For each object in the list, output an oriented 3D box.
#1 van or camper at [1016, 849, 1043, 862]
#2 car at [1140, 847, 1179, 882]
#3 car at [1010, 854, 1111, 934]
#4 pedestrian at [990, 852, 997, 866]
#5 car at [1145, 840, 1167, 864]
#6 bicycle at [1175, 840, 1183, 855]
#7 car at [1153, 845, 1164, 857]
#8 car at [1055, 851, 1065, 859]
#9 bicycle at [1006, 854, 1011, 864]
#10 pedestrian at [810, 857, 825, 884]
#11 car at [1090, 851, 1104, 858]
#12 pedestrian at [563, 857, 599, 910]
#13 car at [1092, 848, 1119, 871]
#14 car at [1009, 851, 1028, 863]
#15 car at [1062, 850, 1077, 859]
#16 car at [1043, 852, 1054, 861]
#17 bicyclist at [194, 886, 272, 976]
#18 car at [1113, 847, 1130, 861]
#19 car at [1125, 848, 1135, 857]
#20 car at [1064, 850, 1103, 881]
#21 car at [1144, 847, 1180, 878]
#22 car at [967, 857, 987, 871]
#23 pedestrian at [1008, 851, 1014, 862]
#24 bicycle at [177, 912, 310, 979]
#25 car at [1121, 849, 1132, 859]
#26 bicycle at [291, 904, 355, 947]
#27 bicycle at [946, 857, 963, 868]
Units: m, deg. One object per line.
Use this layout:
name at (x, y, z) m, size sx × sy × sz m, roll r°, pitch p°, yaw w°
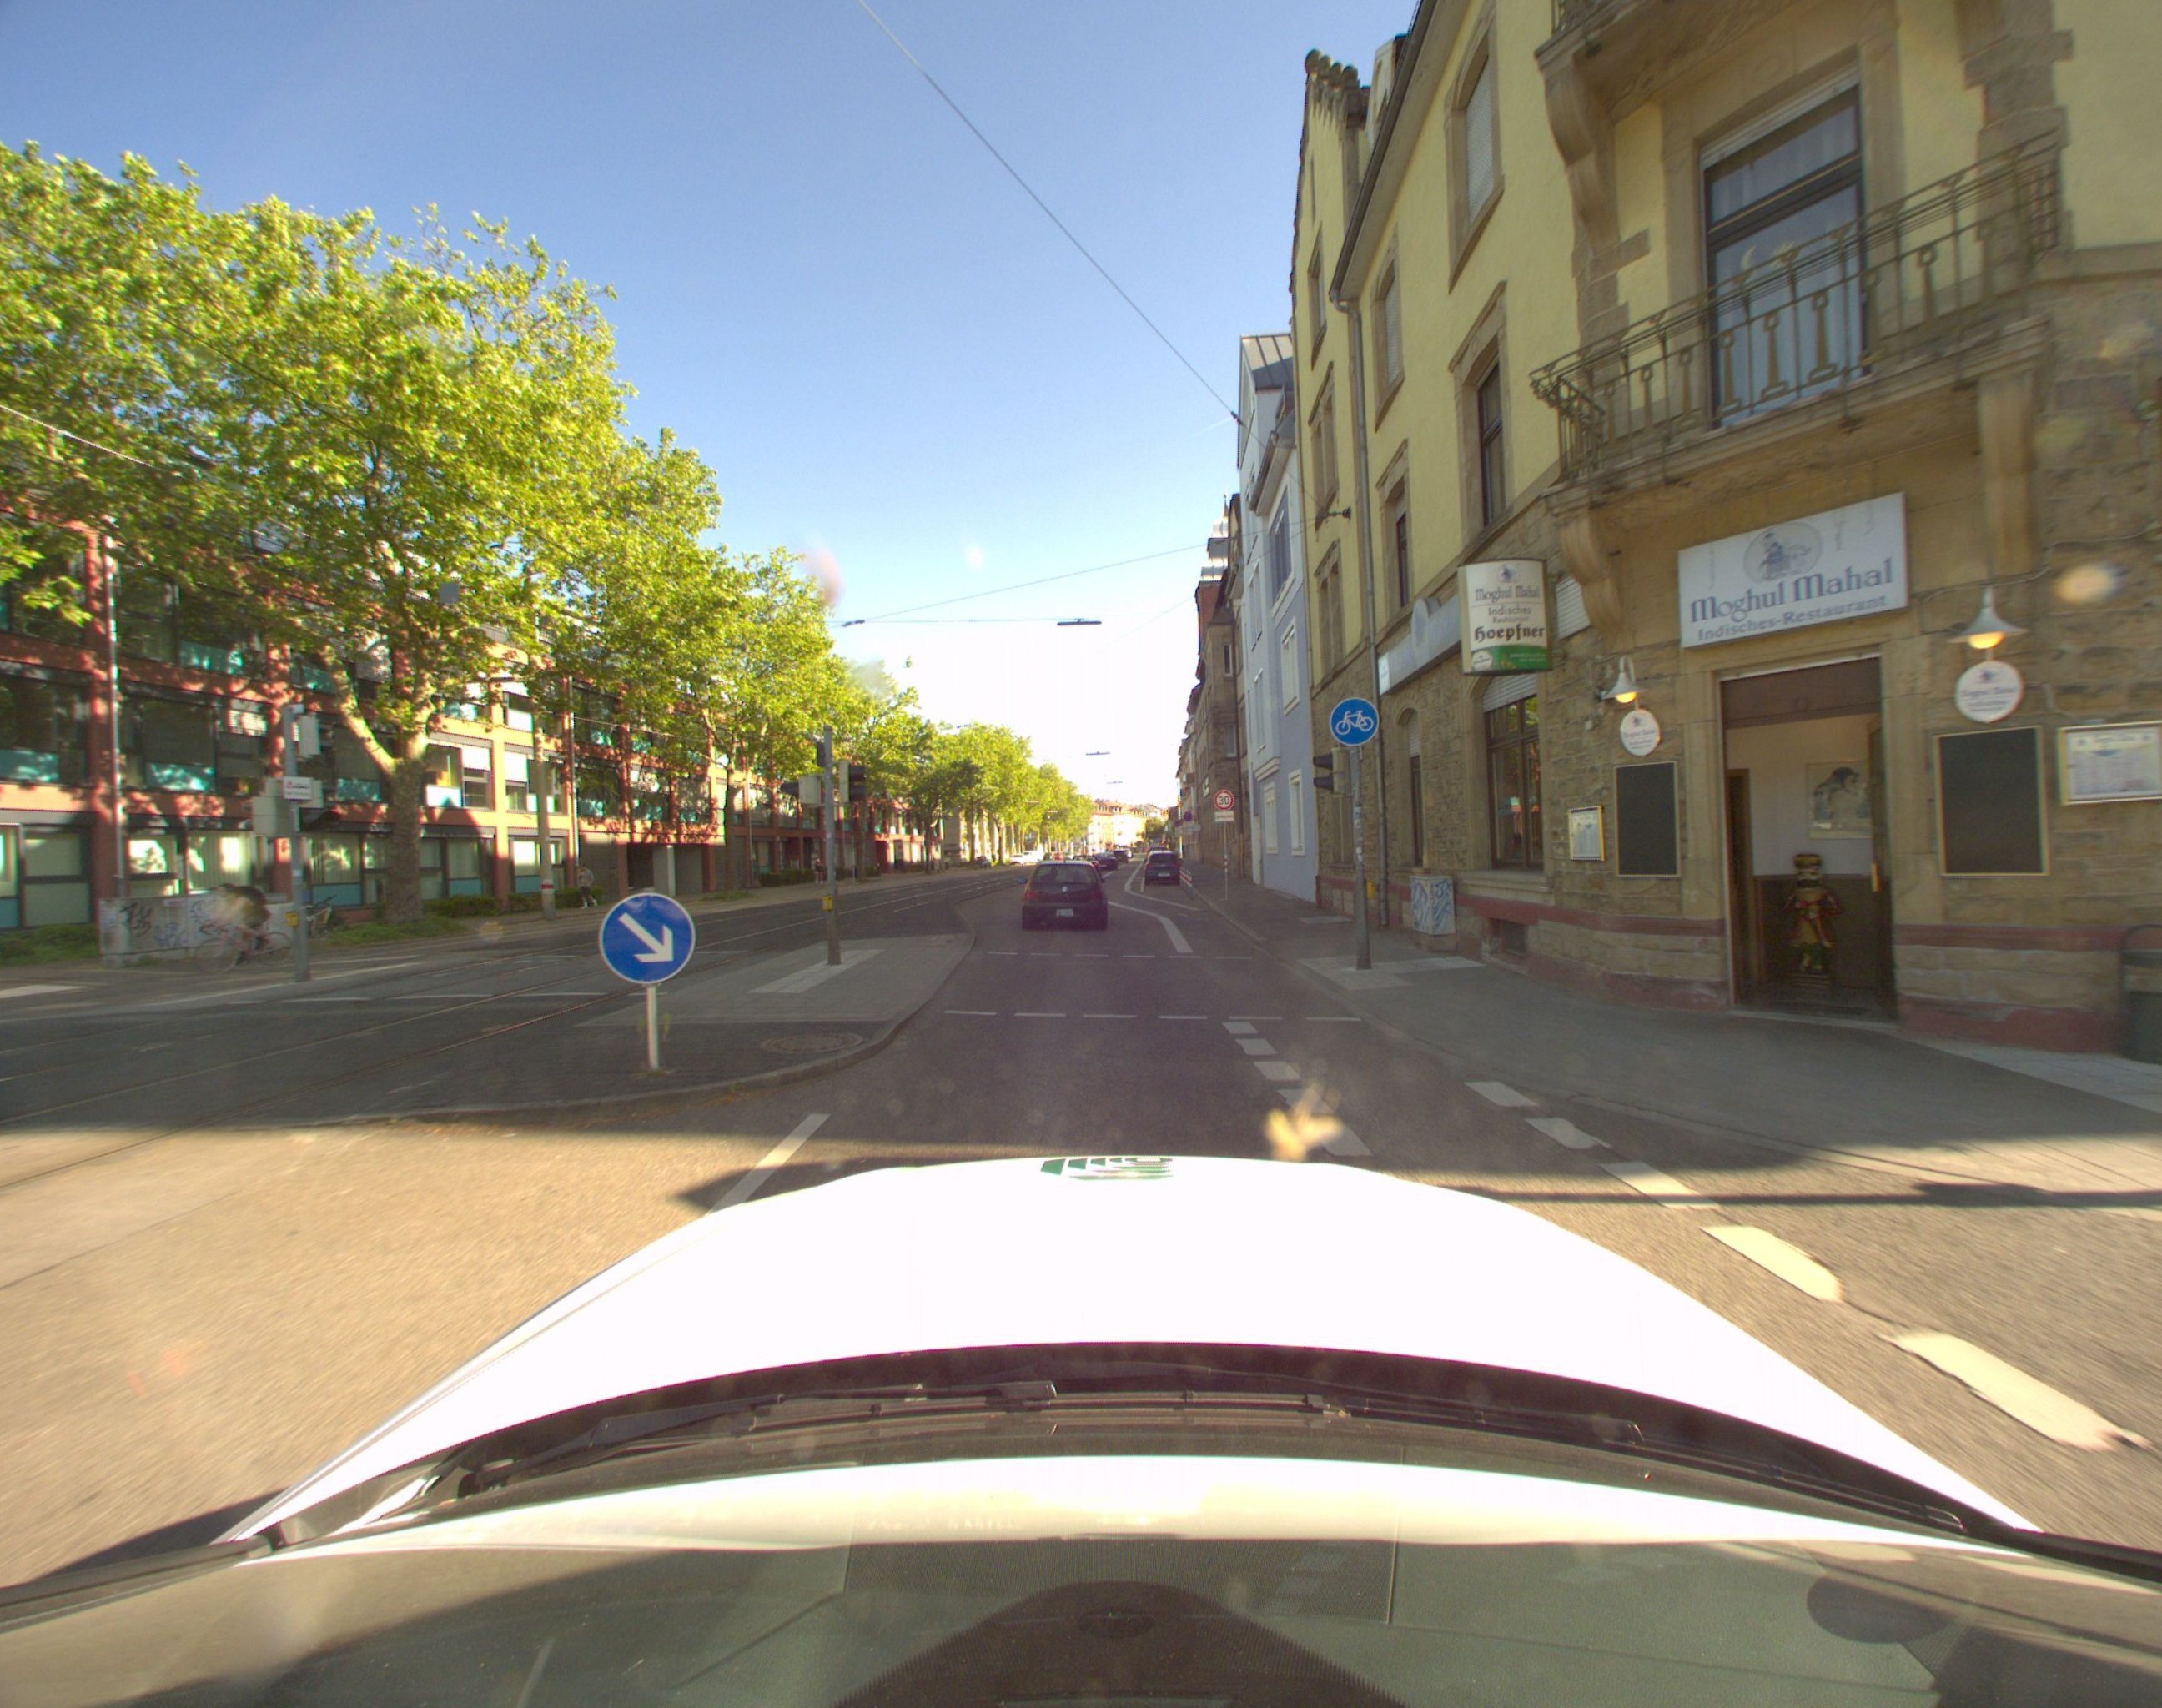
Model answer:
van or camper at (-7.992, 0.211, 126.769) m, size 2.041 × 1.949 × 5.219 m, roll 0°, pitch 1°, yaw 25°
car at (3.546, 0.435, 37.076) m, size 1.647 × 1.482 × 4.005 m, roll -2°, pitch 0°, yaw 4°
car at (-0.312, 0.760, 17.414) m, size 1.741 × 1.375 × 4.004 m, roll -3°, pitch 1°, yaw 4°
pedestrian at (-11.631, 0.656, 108.194) m, size 0.785 × 1.870 × 0.669 m, roll -1°, pitch 1°, yaw -10°
car at (6.248, -0.178, 67.837) m, size 1.744 × 1.855 × 4.822 m, roll -2°, pitch 0°, yaw 5°
bicycle at (7.856, -0.529, 65.443) m, size 0.512 × 1.139 × 2.261 m, roll -4°, pitch 1°, yaw 4°
car at (12.464, -0.492, 130.970) m, size 1.750 × 1.837 × 3.553 m, roll -1°, pitch 1°, yaw 5°
car at (-4.354, 0.197, 167.510) m, size 1.563 × 1.533 × 3.577 m, roll -2°, pitch -1°, yaw 5°
bicycle at (-9.844, 0.672, 110.952) m, size 0.579 × 1.209 × 1.653 m, roll -1°, pitch 1°, yaw -1°
pedestrian at (-17.138, 1.069, 53.040) m, size 0.622 × 1.718 × 0.901 m, roll -1°, pitch 1°, yaw 4°
car at (4.748, 0.032, 239.774) m, size 3.976 × 2.013 × 1.999 m, roll -1°, pitch 1°, yaw -2°
pedestrian at (-19.596, 1.146, 31.940) m, size 0.908 × 2.013 × 0.780 m, roll -1°, pitch 1°, yaw -4°
car at (1.876, 0.402, 62.031) m, size 1.740 × 1.537 × 3.898 m, roll -3°, pitch 1°, yaw 5°
car at (-8.936, 0.451, 116.488) m, size 2.003 × 1.572 × 4.698 m, roll -1°, pitch 1°, yaw 4°
car at (-1.972, 0.089, 141.575) m, size 1.742 × 1.518 × 4.083 m, roll -4°, pitch 0°, yaw 10°
car at (-5.942, 0.489, 150.943) m, size 1.563 × 1.533 × 3.577 m, roll -2°, pitch -1°, yaw 5°
bicyclist at (-16.132, 1.441, 15.506) m, size 0.643 × 1.611 × 0.780 m, roll -1°, pitch 1°, yaw -4°
car at (4.373, -0.005, 87.458) m, size 1.628 × 1.472 × 3.735 m, roll -2°, pitch 0°, yaw 5°
car at (8.760, -0.251, 145.325) m, size 1.628 × 1.472 × 3.735 m, roll -2°, pitch 0°, yaw 5°
car at (0.194, 0.594, 45.402) m, size 1.740 × 1.537 × 3.898 m, roll -3°, pitch 1°, yaw 5°
car at (4.247, 0.401, 42.588) m, size 1.744 × 1.500 × 4.204 m, roll -1°, pitch 0°, yaw 6°
car at (-11.675, 1.109, 91.717) m, size 1.500 × 1.454 × 3.468 m, roll -3°, pitch -2°, yaw 5°
pedestrian at (-11.852, 0.488, 137.977) m, size 0.793 × 1.820 × 0.671 m, roll -1°, pitch 1°, yaw 4°
bicycle at (-16.143, 1.728, 15.780) m, size 0.643 × 1.042 × 1.923 m, roll -1°, pitch 1°, yaw -3°
car at (7.333, 0.030, 130.482) m, size 1.628 × 1.472 × 3.734 m, roll -2°, pitch 0°, yaw 5°
bicycle at (-18.536, 1.741, 19.941) m, size 0.522 × 0.906 × 1.534 m, roll -2°, pitch 0°, yaw -19°
bicycle at (-15.377, 1.057, 99.071) m, size 1.999 × 1.278 × 0.665 m, roll -1°, pitch 1°, yaw 5°
